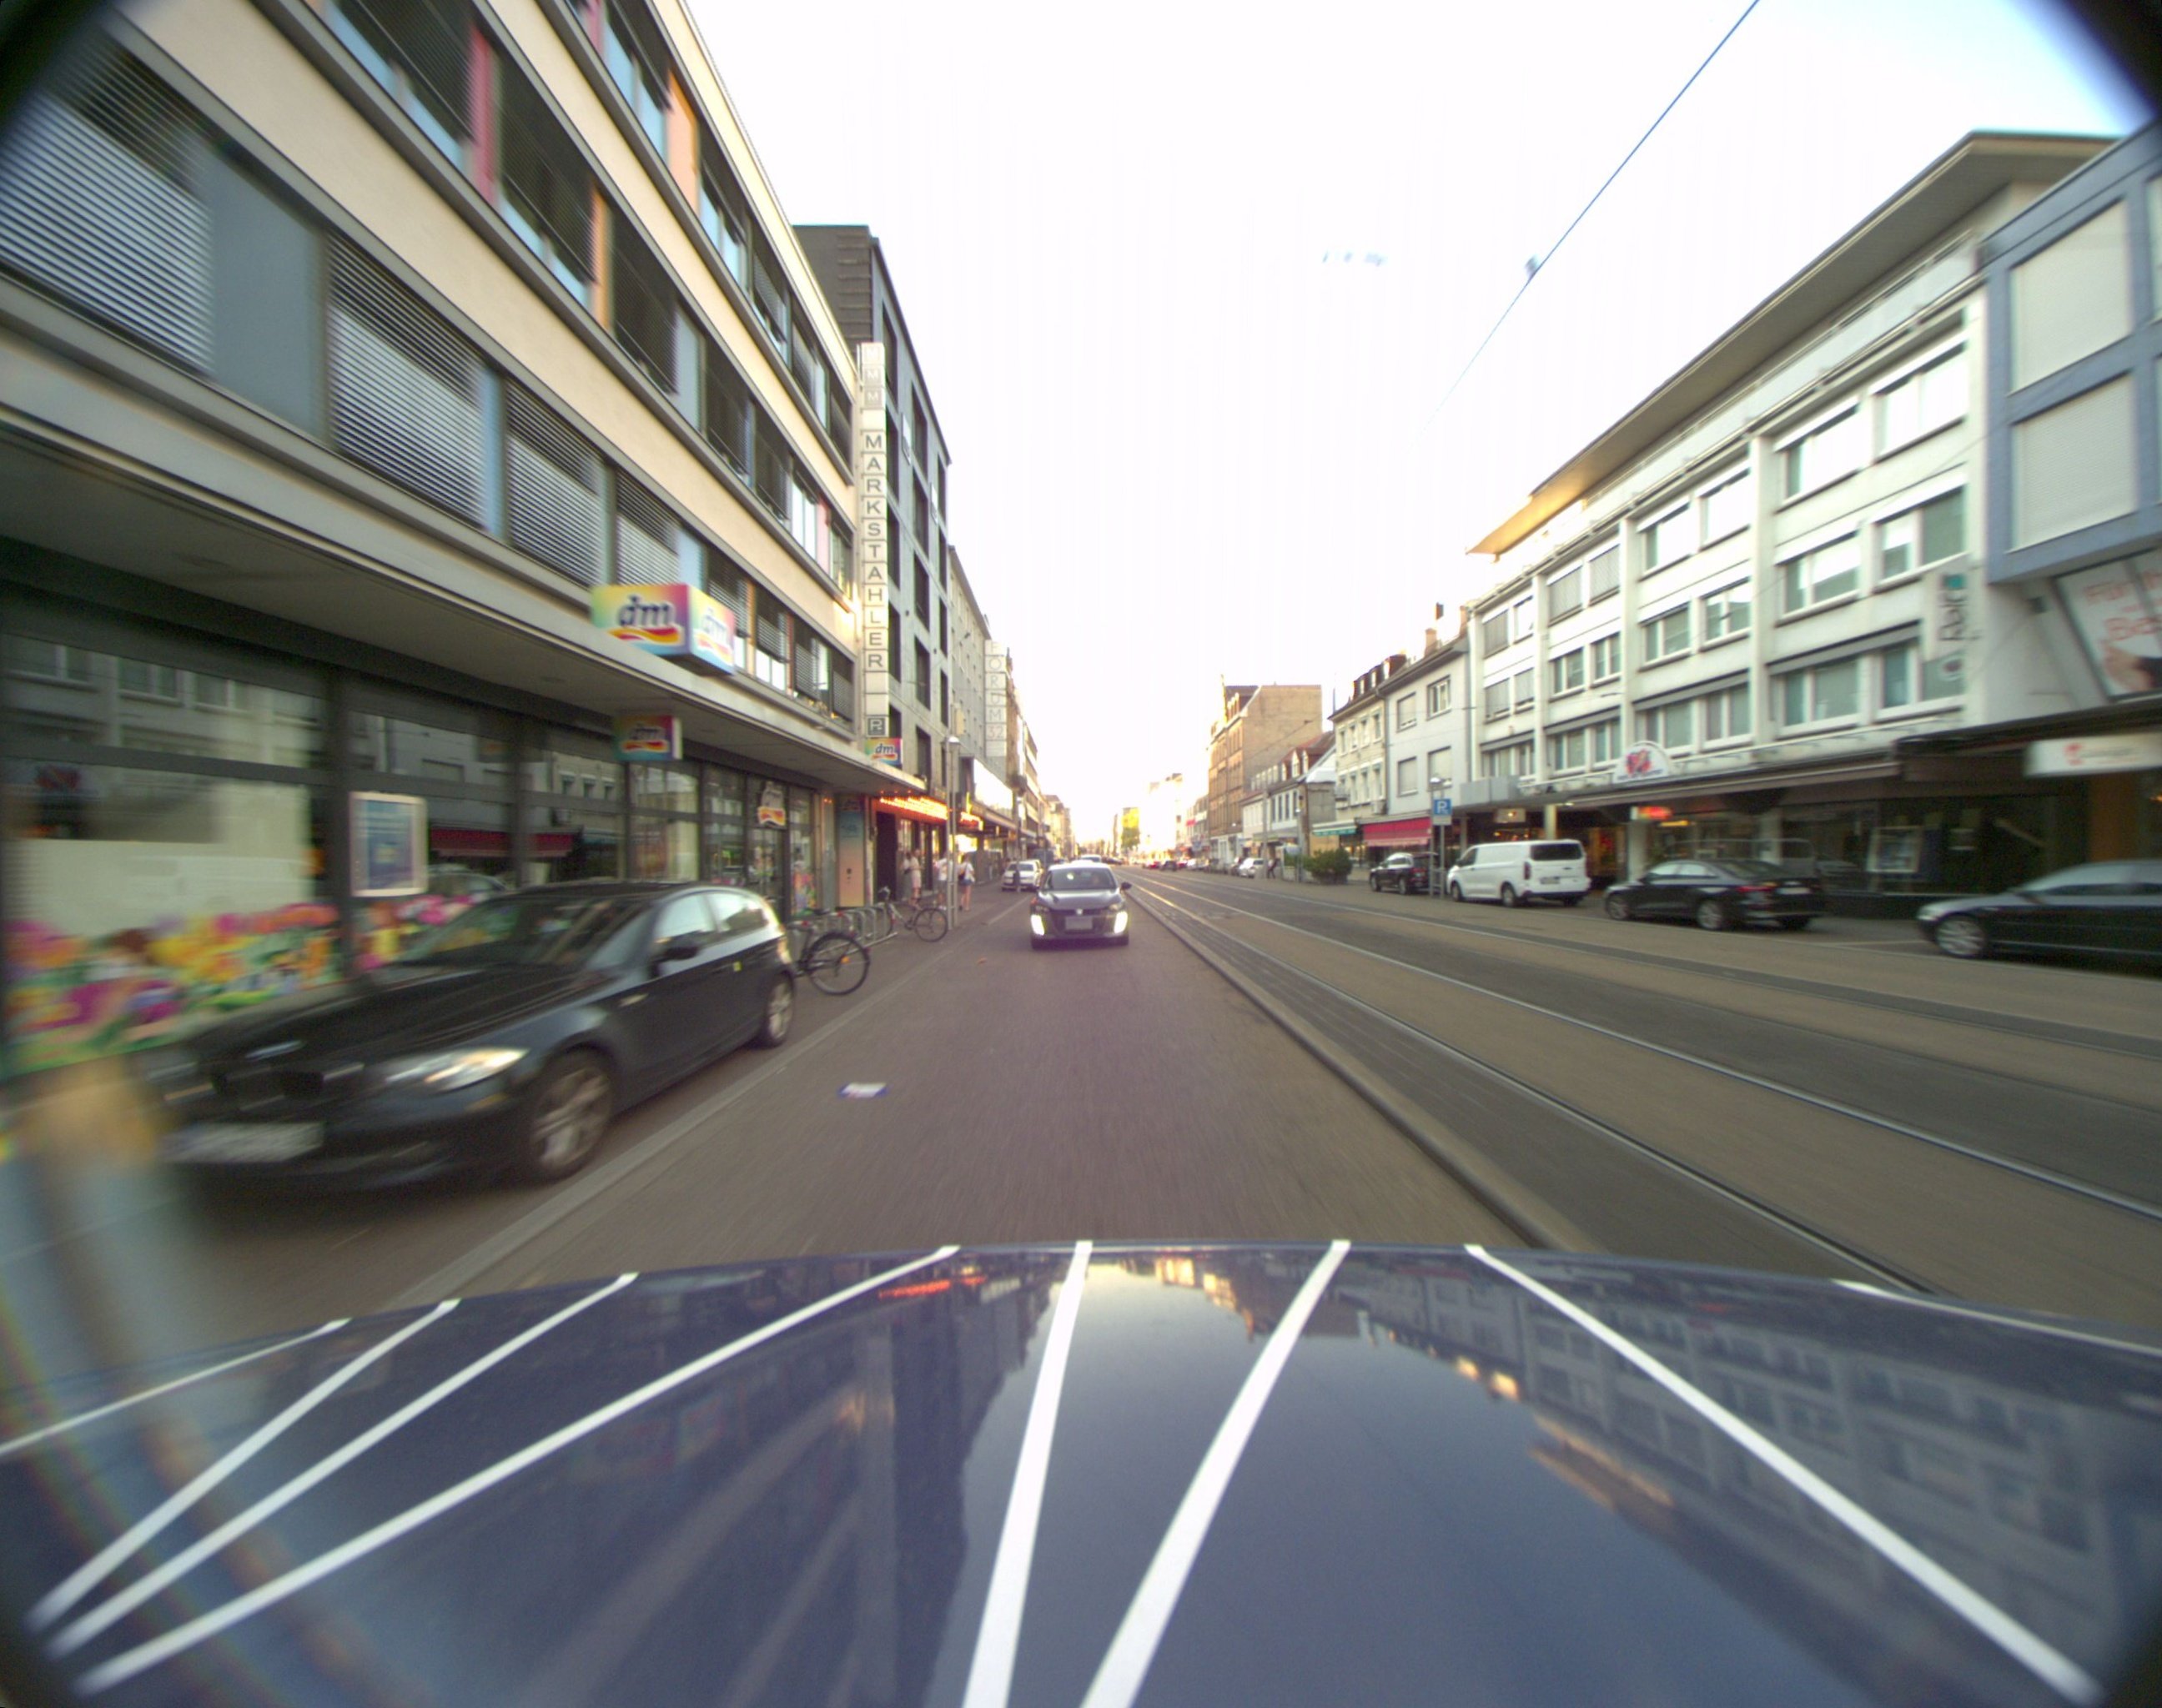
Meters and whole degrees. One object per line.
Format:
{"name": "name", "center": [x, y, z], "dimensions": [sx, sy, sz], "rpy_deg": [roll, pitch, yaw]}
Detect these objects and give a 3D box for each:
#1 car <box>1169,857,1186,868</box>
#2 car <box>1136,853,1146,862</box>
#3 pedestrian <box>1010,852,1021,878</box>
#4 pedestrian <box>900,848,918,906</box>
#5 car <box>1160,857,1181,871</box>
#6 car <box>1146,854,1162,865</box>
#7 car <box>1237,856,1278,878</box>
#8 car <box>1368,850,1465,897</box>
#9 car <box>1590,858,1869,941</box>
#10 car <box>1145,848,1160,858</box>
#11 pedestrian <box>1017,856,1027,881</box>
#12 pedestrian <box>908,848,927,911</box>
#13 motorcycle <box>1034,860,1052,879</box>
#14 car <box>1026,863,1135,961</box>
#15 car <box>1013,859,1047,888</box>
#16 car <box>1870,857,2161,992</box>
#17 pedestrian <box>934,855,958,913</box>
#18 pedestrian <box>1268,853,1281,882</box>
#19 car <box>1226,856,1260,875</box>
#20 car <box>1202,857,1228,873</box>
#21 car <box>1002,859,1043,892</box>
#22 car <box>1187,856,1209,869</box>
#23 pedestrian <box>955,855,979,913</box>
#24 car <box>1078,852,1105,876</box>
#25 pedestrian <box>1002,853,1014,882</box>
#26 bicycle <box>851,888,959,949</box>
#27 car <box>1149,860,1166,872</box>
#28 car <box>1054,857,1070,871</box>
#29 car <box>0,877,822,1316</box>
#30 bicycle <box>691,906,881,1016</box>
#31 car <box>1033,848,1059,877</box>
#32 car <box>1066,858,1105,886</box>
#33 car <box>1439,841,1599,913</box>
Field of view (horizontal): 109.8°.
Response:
{"name": "car", "center": [14.203, 1.178, 111.568], "dimensions": [1.998, 1.543, 4.000], "rpy_deg": [-1, 0, 0]}
{"name": "car", "center": [13.766, 0.900, 173.703], "dimensions": [1.998, 2.023, 4.000], "rpy_deg": [-1, 0, 0]}
{"name": "pedestrian", "center": [-5.059, 0.838, 58.899], "dimensions": [0.711, 2.002, 0.824], "rpy_deg": [-1, 0, 0]}
{"name": "pedestrian", "center": [-5.589, 0.740, 24.659], "dimensions": [0.452, 1.888, 0.421], "rpy_deg": [-1, 0, 0]}
{"name": "car", "center": [10.445, 1.172, 89.301], "dimensions": [1.998, 1.543, 4.000], "rpy_deg": [-1, 0, 0]}
{"name": "car", "center": [10.742, 0.780, 112.674], "dimensions": [1.998, 1.543, 4.000], "rpy_deg": [-1, 0, 0]}
{"name": "car", "center": [13.481, 0.980, 58.283], "dimensions": [1.998, 1.535, 4.879], "rpy_deg": [-2, 0, 1]}
{"name": "car", "center": [13.538, 0.750, 30.951], "dimensions": [1.863, 1.711, 4.527], "rpy_deg": [-2, 0, 0]}
{"name": "car", "center": [13.365, 0.841, 16.144], "dimensions": [1.998, 1.457, 4.558], "rpy_deg": [-2, 0, 0]}
{"name": "car", "center": [11.348, -0.145, 120.567], "dimensions": [1.998, 1.543, 4.000], "rpy_deg": [-1, 0, 0]}
{"name": "pedestrian", "center": [-4.134, 0.991, 53.331], "dimensions": [0.610, 1.743, 0.605], "rpy_deg": [-1, 0, 0]}
{"name": "pedestrian", "center": [-4.967, 0.771, 23.062], "dimensions": [0.456, 1.888, 0.421], "rpy_deg": [-1, 0, 0]}
{"name": "motorcycle", "center": [-2.881, 1.171, 57.616], "dimensions": [0.574, 1.369, 1.513], "rpy_deg": [0, 0, 30]}
{"name": "car", "center": [-0.035, 0.967, 14.608], "dimensions": [1.732, 1.513, 4.333], "rpy_deg": [-2, 0, -1]}
{"name": "car", "center": [-2.858, 1.070, 43.234], "dimensions": [1.673, 1.565, 4.035], "rpy_deg": [-1, 0, 0]}
{"name": "car", "center": [13.194, 0.812, 9.672], "dimensions": [1.690, 1.503, 4.446], "rpy_deg": [-1, 0, 1]}
{"name": "pedestrian", "center": [-4.146, 0.908, 23.311], "dimensions": [0.610, 1.743, 0.605], "rpy_deg": [-1, 0, 0]}
{"name": "pedestrian", "center": [13.174, 0.916, 51.847], "dimensions": [0.823, 2.002, 0.713], "rpy_deg": [0, 0, 16]}
{"name": "car", "center": [13.530, 0.963, 63.659], "dimensions": [1.914, 1.535, 4.553], "rpy_deg": [-1, 0, 0]}
{"name": "car", "center": [13.859, 1.096, 78.896], "dimensions": [1.998, 1.543, 4.000], "rpy_deg": [-1, 0, 0]}
{"name": "car", "center": [-2.891, 1.019, 38.079], "dimensions": [1.682, 1.533, 3.886], "rpy_deg": [1, 0, 1]}
{"name": "car", "center": [13.966, 1.008, 90.843], "dimensions": [1.998, 1.543, 4.206], "rpy_deg": [-1, 0, 0]}
{"name": "pedestrian", "center": [-3.459, 0.906, 23.159], "dimensions": [0.605, 1.717, 0.646], "rpy_deg": [-1, 0, 0]}
{"name": "car", "center": [0.824, 0.787, 61.293], "dimensions": [1.999, 1.805, 3.999], "rpy_deg": [-1, 0, -1]}
{"name": "pedestrian", "center": [-4.450, 0.810, 46.335], "dimensions": [0.610, 1.743, 0.605], "rpy_deg": [-1, 0, 0]}
{"name": "bicycle", "center": [-3.316, 1.215, 14.436], "dimensions": [1.890, 1.070, 0.676], "rpy_deg": [1, 0, -2]}
{"name": "car", "center": [10.600, 1.619, 105.439], "dimensions": [1.998, 1.543, 4.000], "rpy_deg": [-1, 0, 0]}
{"name": "car", "center": [-2.371, 1.209, 95.189], "dimensions": [1.999, 1.627, 5.244], "rpy_deg": [-1, 0, -1]}
{"name": "car", "center": [-3.327, 0.970, 4.968], "dimensions": [1.748, 1.503, 4.258], "rpy_deg": [1, 0, 1]}
{"name": "bicycle", "center": [-3.328, 1.199, 8.688], "dimensions": [1.890, 1.131, 0.676], "rpy_deg": [-1, 0, -2]}
{"name": "car", "center": [-3.022, 0.729, 65.887], "dimensions": [2.046, 2.371, 5.584], "rpy_deg": [-1, 0, -1]}
{"name": "car", "center": [0.239, 0.961, 42.201], "dimensions": [1.998, 1.450, 4.000], "rpy_deg": [-1, 0, 0]}
{"name": "car", "center": [13.373, 0.652, 23.661], "dimensions": [1.960, 1.965, 5.162], "rpy_deg": [-1, 0, 0]}
